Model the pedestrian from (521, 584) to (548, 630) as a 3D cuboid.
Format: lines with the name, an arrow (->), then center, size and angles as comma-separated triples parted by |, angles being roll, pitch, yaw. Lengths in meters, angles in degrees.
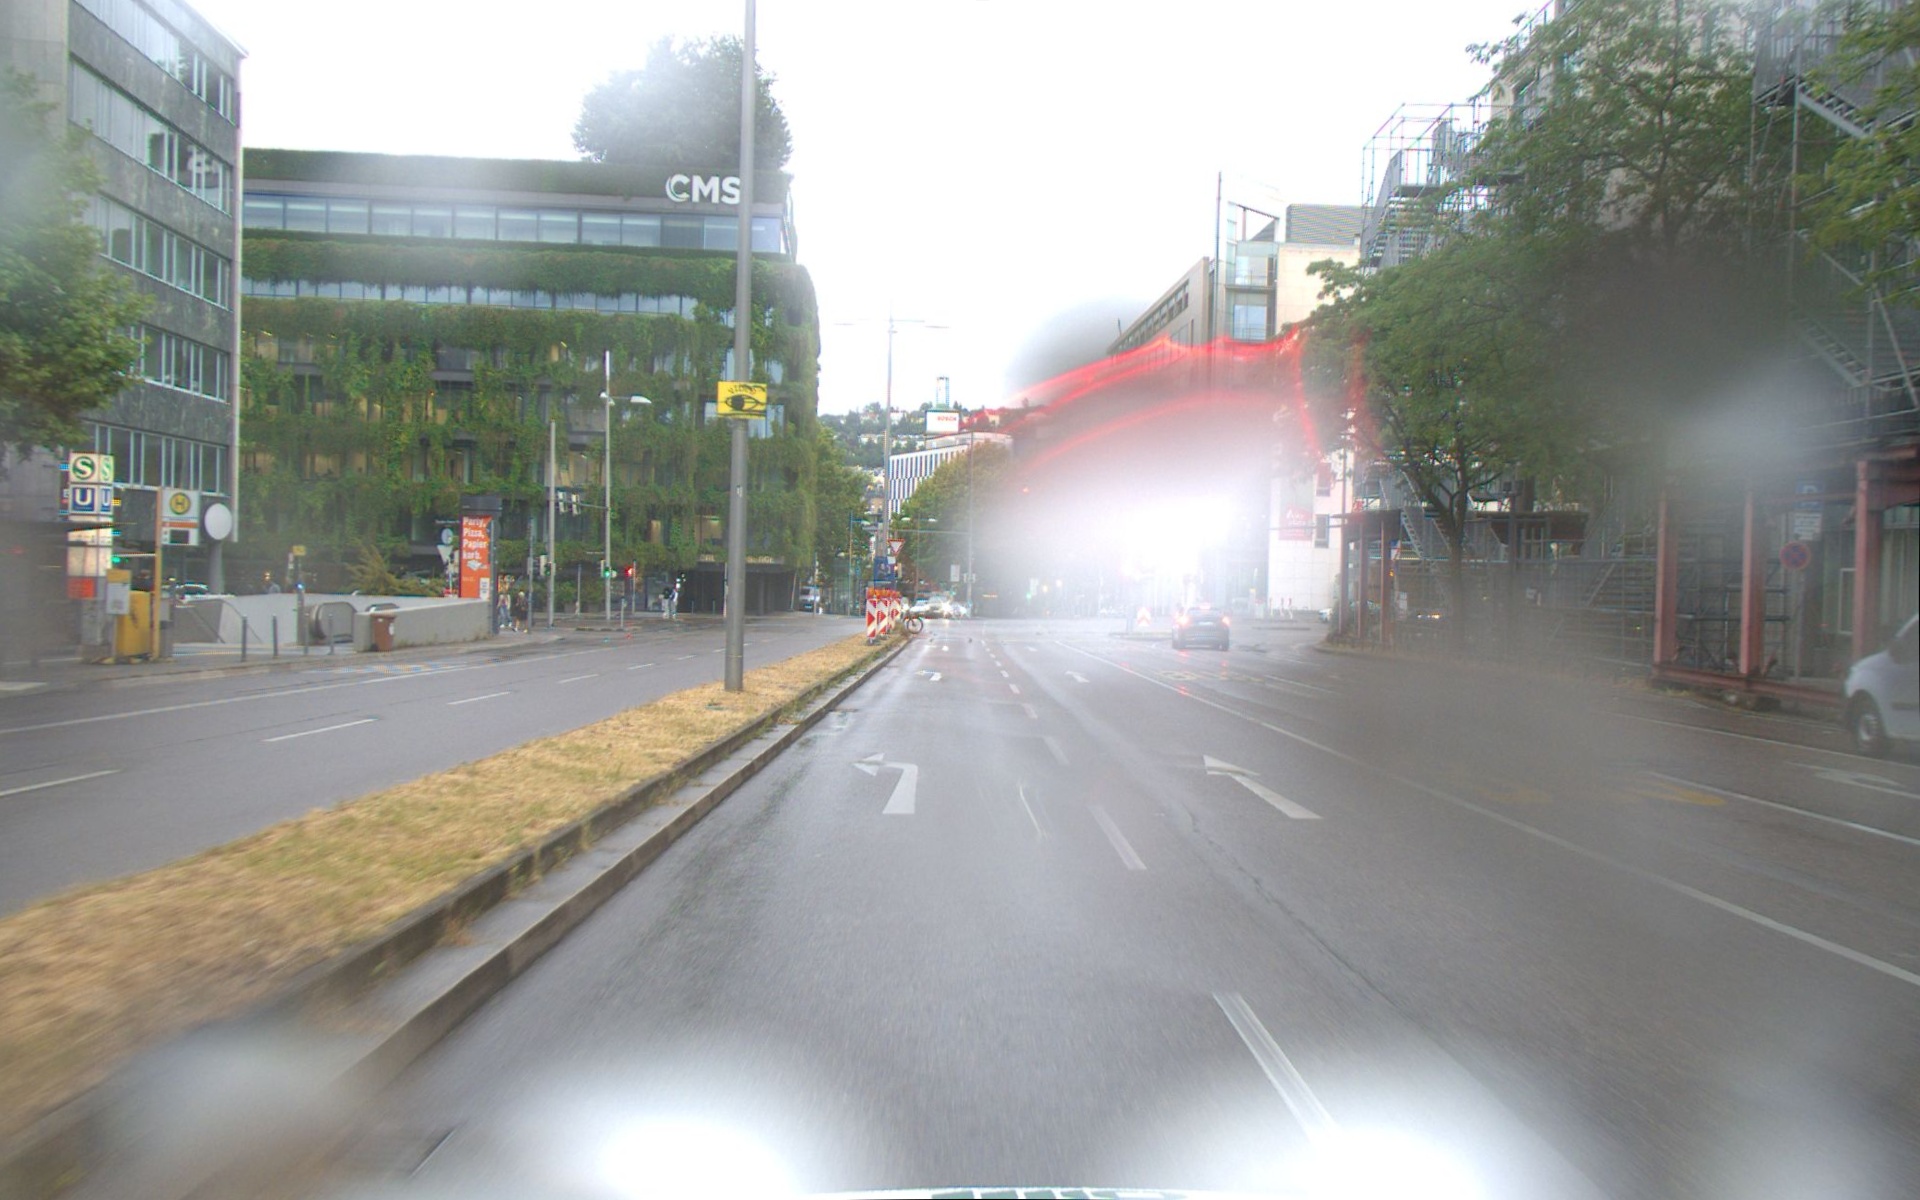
pedestrian -> -18.290, 0.287, 71.127 | 0.877, 1.918, 0.786 | -3, 0, -4

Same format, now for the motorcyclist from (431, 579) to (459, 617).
motorcyclist -> -23.849, -0.092, 76.581 | 1.166, 1.732, 0.844 | 1, 0, -16

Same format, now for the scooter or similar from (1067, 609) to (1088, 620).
scooter or similar -> 10.007, 1.212, 141.043 | 1.719, 0.894, 0.486 | 0, 0, -19

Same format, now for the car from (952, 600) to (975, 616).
car -> 0.351, 0.740, 159.303 | 1.954, 1.469, 4.553 | 0, 0, -3

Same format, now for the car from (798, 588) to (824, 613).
car -> -11.632, 0.057, 129.474 | 1.954, 1.928, 4.461 | 1, 0, -4

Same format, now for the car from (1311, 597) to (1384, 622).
car -> 25.895, 0.656, 110.511 | 4.376, 1.626, 1.992 | 1, 0, -15

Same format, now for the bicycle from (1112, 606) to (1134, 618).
bicycle -> 12.612, 0.936, 127.694 | 1.768, 0.950, 0.472 | 1, 0, 42

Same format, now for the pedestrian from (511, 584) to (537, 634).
pedestrian -> -17.330, 0.344, 65.779 | 0.790, 1.918, 0.865 | -3, 0, -6

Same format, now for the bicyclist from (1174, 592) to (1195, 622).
bicyclist -> 14.761, 0.456, 108.875 | 0.786, 2.009, 1.098 | 1, 0, -40

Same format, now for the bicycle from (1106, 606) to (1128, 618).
bicycle -> 12.540, 0.947, 132.022 | 1.757, 0.950, 0.475 | 1, 0, 3

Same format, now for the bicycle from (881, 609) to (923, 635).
bicycle -> -2.472, 0.935, 71.196 | 0.829, 1.122, 2.149 | 1, 0, 29

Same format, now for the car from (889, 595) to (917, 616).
car -> -4.321, 0.403, 125.513 | 1.820, 1.474, 4.615 | 0, 1, -6

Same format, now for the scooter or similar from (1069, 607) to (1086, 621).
scooter or similar -> 8.789, 1.054, 123.997 | 0.548, 1.024, 1.812 | 0, 0, -21

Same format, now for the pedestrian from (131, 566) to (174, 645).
pedestrian -> -19.935, 0.135, 40.840 | 0.676, 1.918, 0.758 | 1, 0, -4

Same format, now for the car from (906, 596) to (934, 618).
car -> -3.574, 0.610, 148.116 | 2.133, 1.855, 4.638 | 1, 0, -6

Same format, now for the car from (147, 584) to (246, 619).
car -> -35.446, 0.070, 76.899 | 3.824, 1.550, 1.866 | 1, 0, -13

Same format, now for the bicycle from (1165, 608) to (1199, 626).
bicycle -> 14.626, 1.115, 109.021 | 0.786, 1.136, 2.223 | 1, 0, -40

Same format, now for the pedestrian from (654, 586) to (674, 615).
pedestrian -> -18.074, 0.028, 100.992 | 0.922, 1.788, 1.163 | 1, 0, -23

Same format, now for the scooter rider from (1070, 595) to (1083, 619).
scooter rider -> 8.742, 0.526, 124.107 | 0.751, 1.805, 0.791 | 0, 0, -21

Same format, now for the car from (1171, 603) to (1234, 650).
car -> 8.477, 0.913, 58.154 | 1.741, 1.567, 4.148 | 1, 0, 2

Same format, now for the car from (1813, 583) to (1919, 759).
car -> 10.689, 0.726, 16.571 | 1.953, 1.780, 4.526 | 1, 0, 0

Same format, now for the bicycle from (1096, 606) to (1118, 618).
bicycle -> 11.925, 0.948, 133.872 | 1.757, 0.950, 0.475 | 1, 0, 3

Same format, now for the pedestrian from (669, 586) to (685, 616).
pedestrian -> -17.354, 0.063, 101.295 | 0.731, 1.788, 0.969 | 1, 0, -23

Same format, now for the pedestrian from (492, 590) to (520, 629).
pedestrian -> -19.544, 0.394, 71.163 | 0.814, 1.613, 0.923 | -3, 0, 4

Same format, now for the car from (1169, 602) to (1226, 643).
car -> 9.414, 0.868, 65.340 | 1.667, 1.556, 4.430 | 1, 0, 15

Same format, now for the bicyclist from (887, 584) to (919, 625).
bicyclist -> -2.440, 0.197, 71.215 | 0.829, 1.734, 1.296 | 0, 0, 30

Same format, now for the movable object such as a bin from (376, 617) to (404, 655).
movable object such as a bin -> -13.993, 0.878, 40.605 | 0.521, 0.913, 0.681 | -1, 0, -9

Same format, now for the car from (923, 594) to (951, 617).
car -> -1.671, 0.392, 119.647 | 1.953, 1.577, 4.555 | 1, 0, 0
